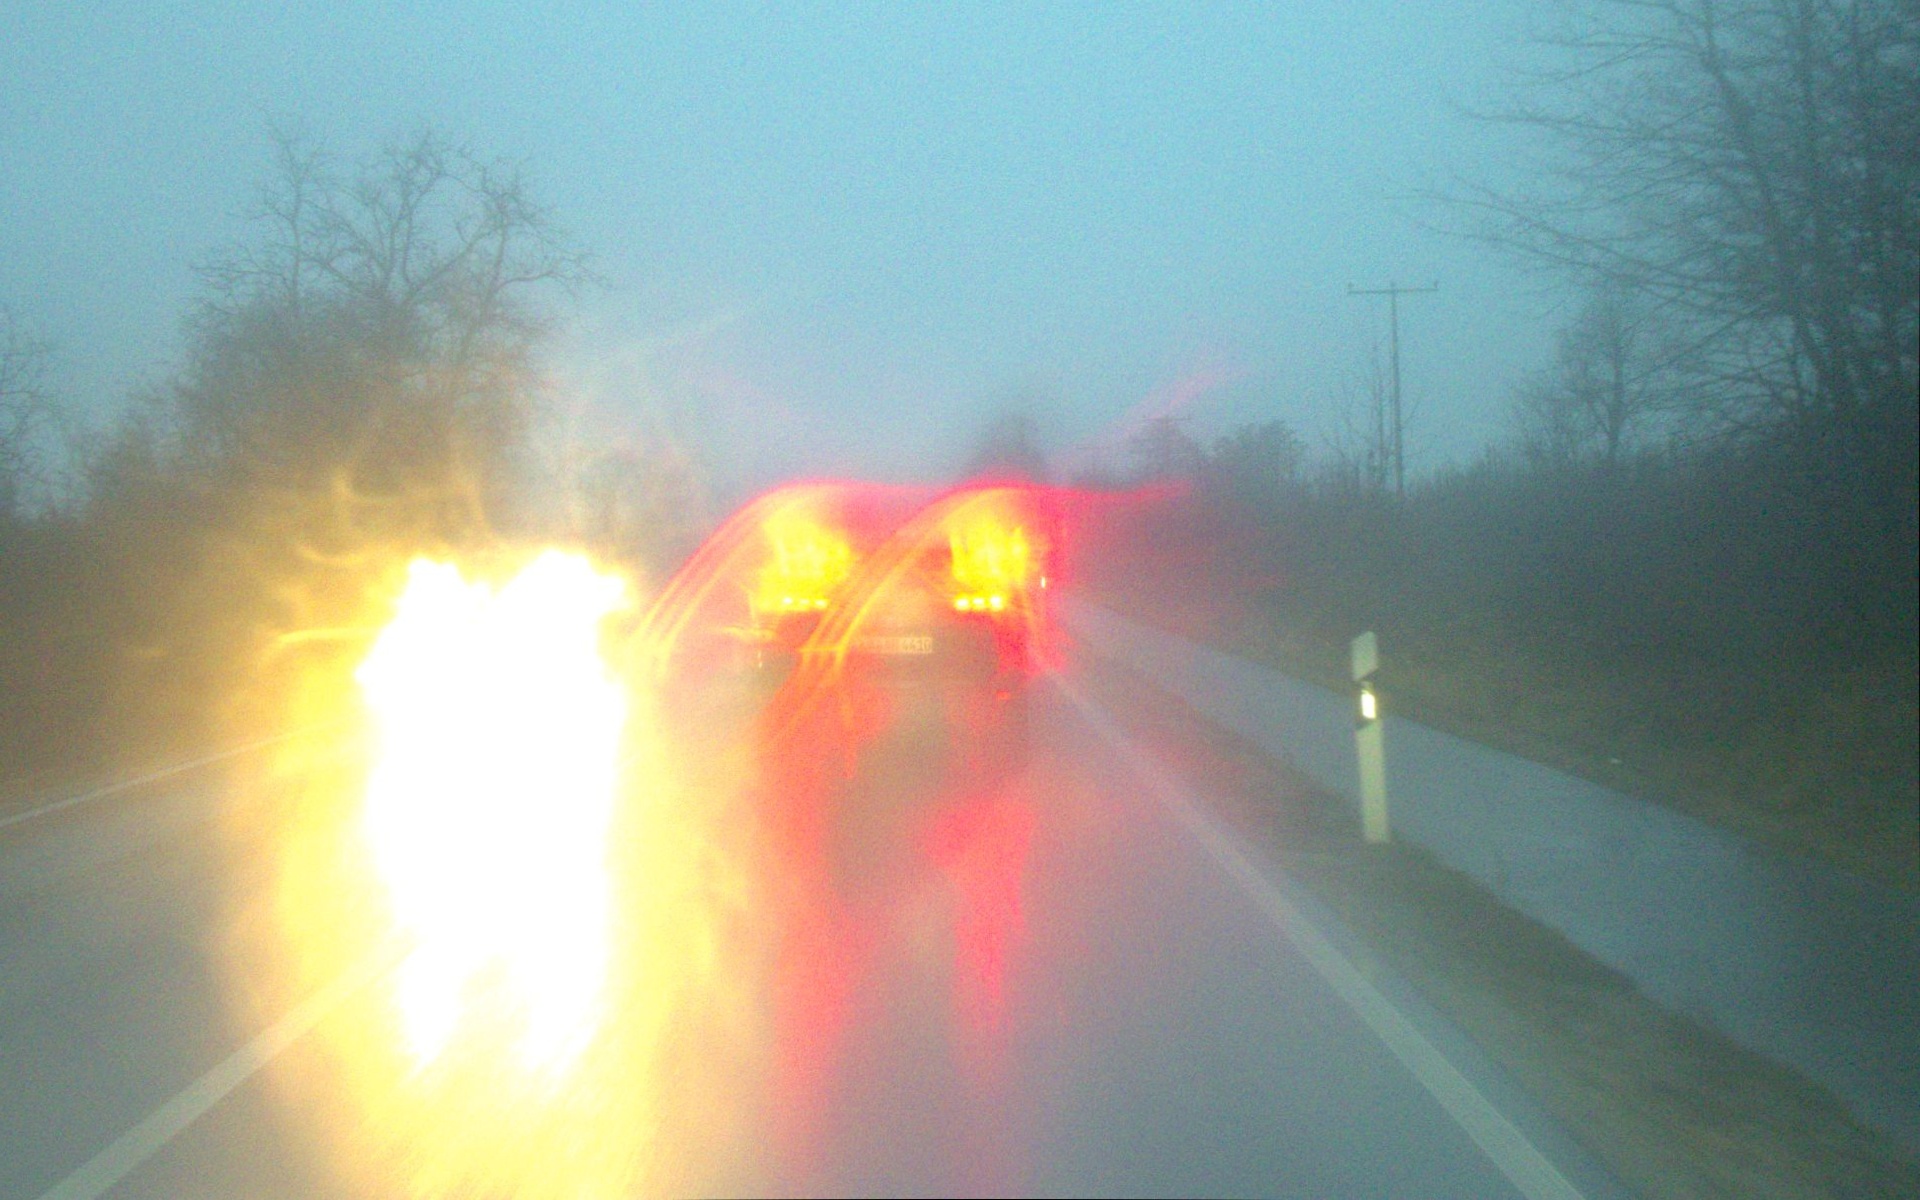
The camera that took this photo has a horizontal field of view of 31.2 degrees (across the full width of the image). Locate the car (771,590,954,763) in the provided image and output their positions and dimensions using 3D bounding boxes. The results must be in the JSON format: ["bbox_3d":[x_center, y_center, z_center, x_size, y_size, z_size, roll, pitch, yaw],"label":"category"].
[{"bbox_3d":[-1.095,0.838,40.008,1.993,1.843,4.000,1,1,0],"label":"car"}]

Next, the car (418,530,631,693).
[{"bbox_3d":[-4.249,0.073,34.036,1.632,1.452,3.983,-2,1,-1],"label":"car"}]

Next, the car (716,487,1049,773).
[{"bbox_3d":[-0.516,0.145,24.423,2.120,1.813,4.980,0,1,-1],"label":"car"}]
